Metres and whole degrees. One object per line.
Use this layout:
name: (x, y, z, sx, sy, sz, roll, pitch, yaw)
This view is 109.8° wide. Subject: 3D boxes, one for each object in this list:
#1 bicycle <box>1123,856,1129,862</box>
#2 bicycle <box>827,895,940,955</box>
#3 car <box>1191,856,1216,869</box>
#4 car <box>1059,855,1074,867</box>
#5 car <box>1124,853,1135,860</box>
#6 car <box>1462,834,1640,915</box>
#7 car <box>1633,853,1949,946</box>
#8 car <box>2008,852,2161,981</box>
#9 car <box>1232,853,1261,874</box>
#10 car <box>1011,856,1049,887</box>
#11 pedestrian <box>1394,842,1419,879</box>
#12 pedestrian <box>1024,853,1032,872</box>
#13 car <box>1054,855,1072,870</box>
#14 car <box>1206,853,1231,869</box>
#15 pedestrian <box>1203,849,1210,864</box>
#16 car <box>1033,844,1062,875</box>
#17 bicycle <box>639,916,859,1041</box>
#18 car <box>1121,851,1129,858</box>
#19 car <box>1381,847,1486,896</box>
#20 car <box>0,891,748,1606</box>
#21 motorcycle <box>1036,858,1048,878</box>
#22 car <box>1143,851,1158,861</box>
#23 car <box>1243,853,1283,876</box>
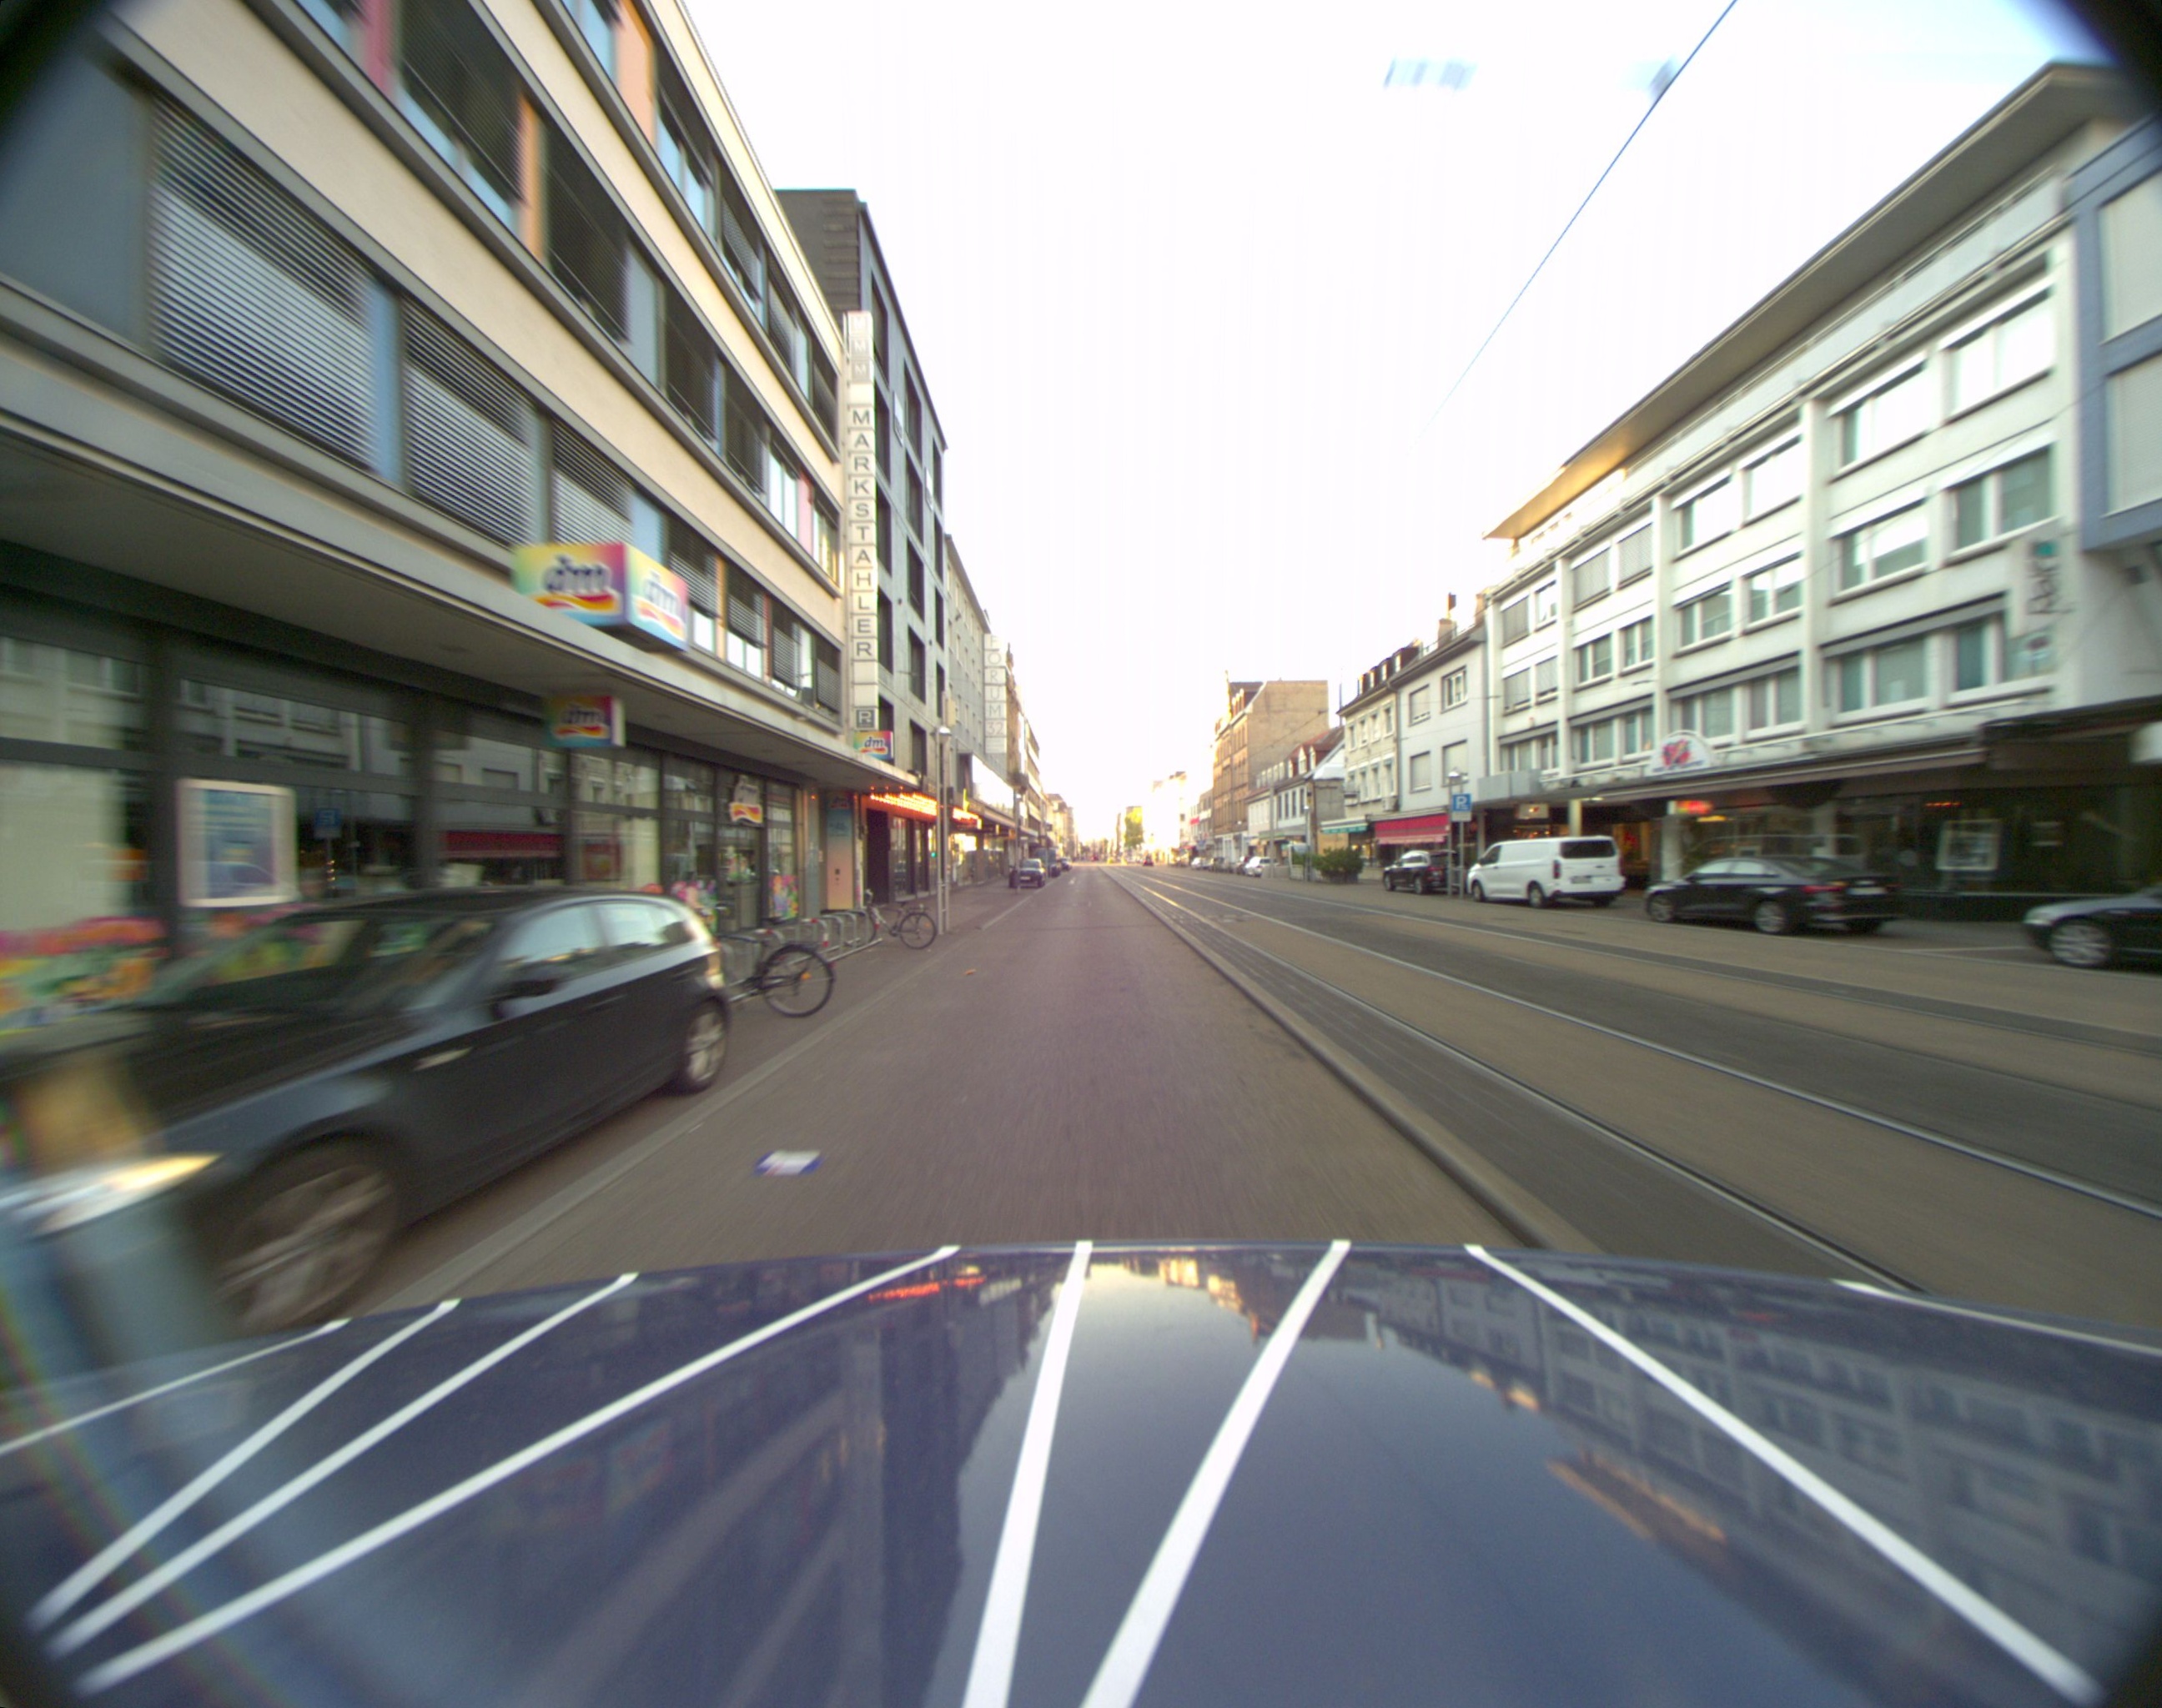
bicycle: (8.554, 0.899, 144.133, 0.494, 1.183, 2.263, -3, 1, -9)
bicycle: (-3.417, 1.223, 13.209, 1.799, 0.967, 0.575, 1, 0, -2)
car: (14.420, 0.979, 89.550, 1.999, 1.412, 4.403, -3, 1, -2)
car: (-2.048, 0.997, 106.307, 1.999, 1.538, 3.876, -3, 0, -1)
car: (10.913, 0.574, 171.541, 1.998, 1.433, 3.999, -3, 1, 0)
car: (13.460, 0.517, 22.240, 1.969, 2.002, 5.099, -3, 1, 0)
car: (13.321, 0.743, 14.770, 1.876, 1.418, 4.570, -3, 1, 1)
car: (13.244, 0.714, 8.099, 1.794, 1.452, 4.091, -1, 0, 2)
car: (13.446, 0.755, 61.894, 1.660, 1.561, 3.470, -3, 1, 1)
car: (-2.747, 0.929, 41.754, 1.744, 1.532, 3.965, -1, 1, 0)
pedestrian: (16.147, 0.315, 37.659, 0.819, 1.772, 0.818, -3, 1, 1)
pedestrian: (-4.999, 0.801, 72.035, 0.743, 1.746, 0.789, 1, 1, -3)
car: (-2.162, 0.980, 93.281, 1.998, 1.663, 3.876, -3, 1, 0)
car: (13.948, 0.654, 77.444, 1.846, 1.484, 3.816, -3, 1, 1)
pedestrian: (16.647, 0.318, 101.028, 0.748, 2.002, 1.049, -3, 1, 5)
car: (-2.756, 0.429, 63.953, 2.080, 2.434, 5.603, -3, 0, -1)
bicycle: (-3.176, 1.181, 7.380, 1.844, 1.103, 0.642, 0, 1, -2)
car: (11.714, 0.228, 203.025, 1.998, 1.685, 3.999, -3, 1, 0)
car: (13.690, 0.626, 29.870, 1.998, 1.687, 4.588, -3, 1, 1)
car: (-3.370, 1.055, 3.643, 1.658, 1.454, 4.022, -3, 1, 1)
motorcycle: (-2.906, 1.030, 57.093, 0.785, 1.396, 2.637, 0, 0, 0)
car: (11.509, 0.382, 125.907, 1.998, 1.554, 3.999, -3, 1, 0)
car: (13.560, 0.730, 56.857, 1.896, 1.547, 4.622, -3, 1, 1)
